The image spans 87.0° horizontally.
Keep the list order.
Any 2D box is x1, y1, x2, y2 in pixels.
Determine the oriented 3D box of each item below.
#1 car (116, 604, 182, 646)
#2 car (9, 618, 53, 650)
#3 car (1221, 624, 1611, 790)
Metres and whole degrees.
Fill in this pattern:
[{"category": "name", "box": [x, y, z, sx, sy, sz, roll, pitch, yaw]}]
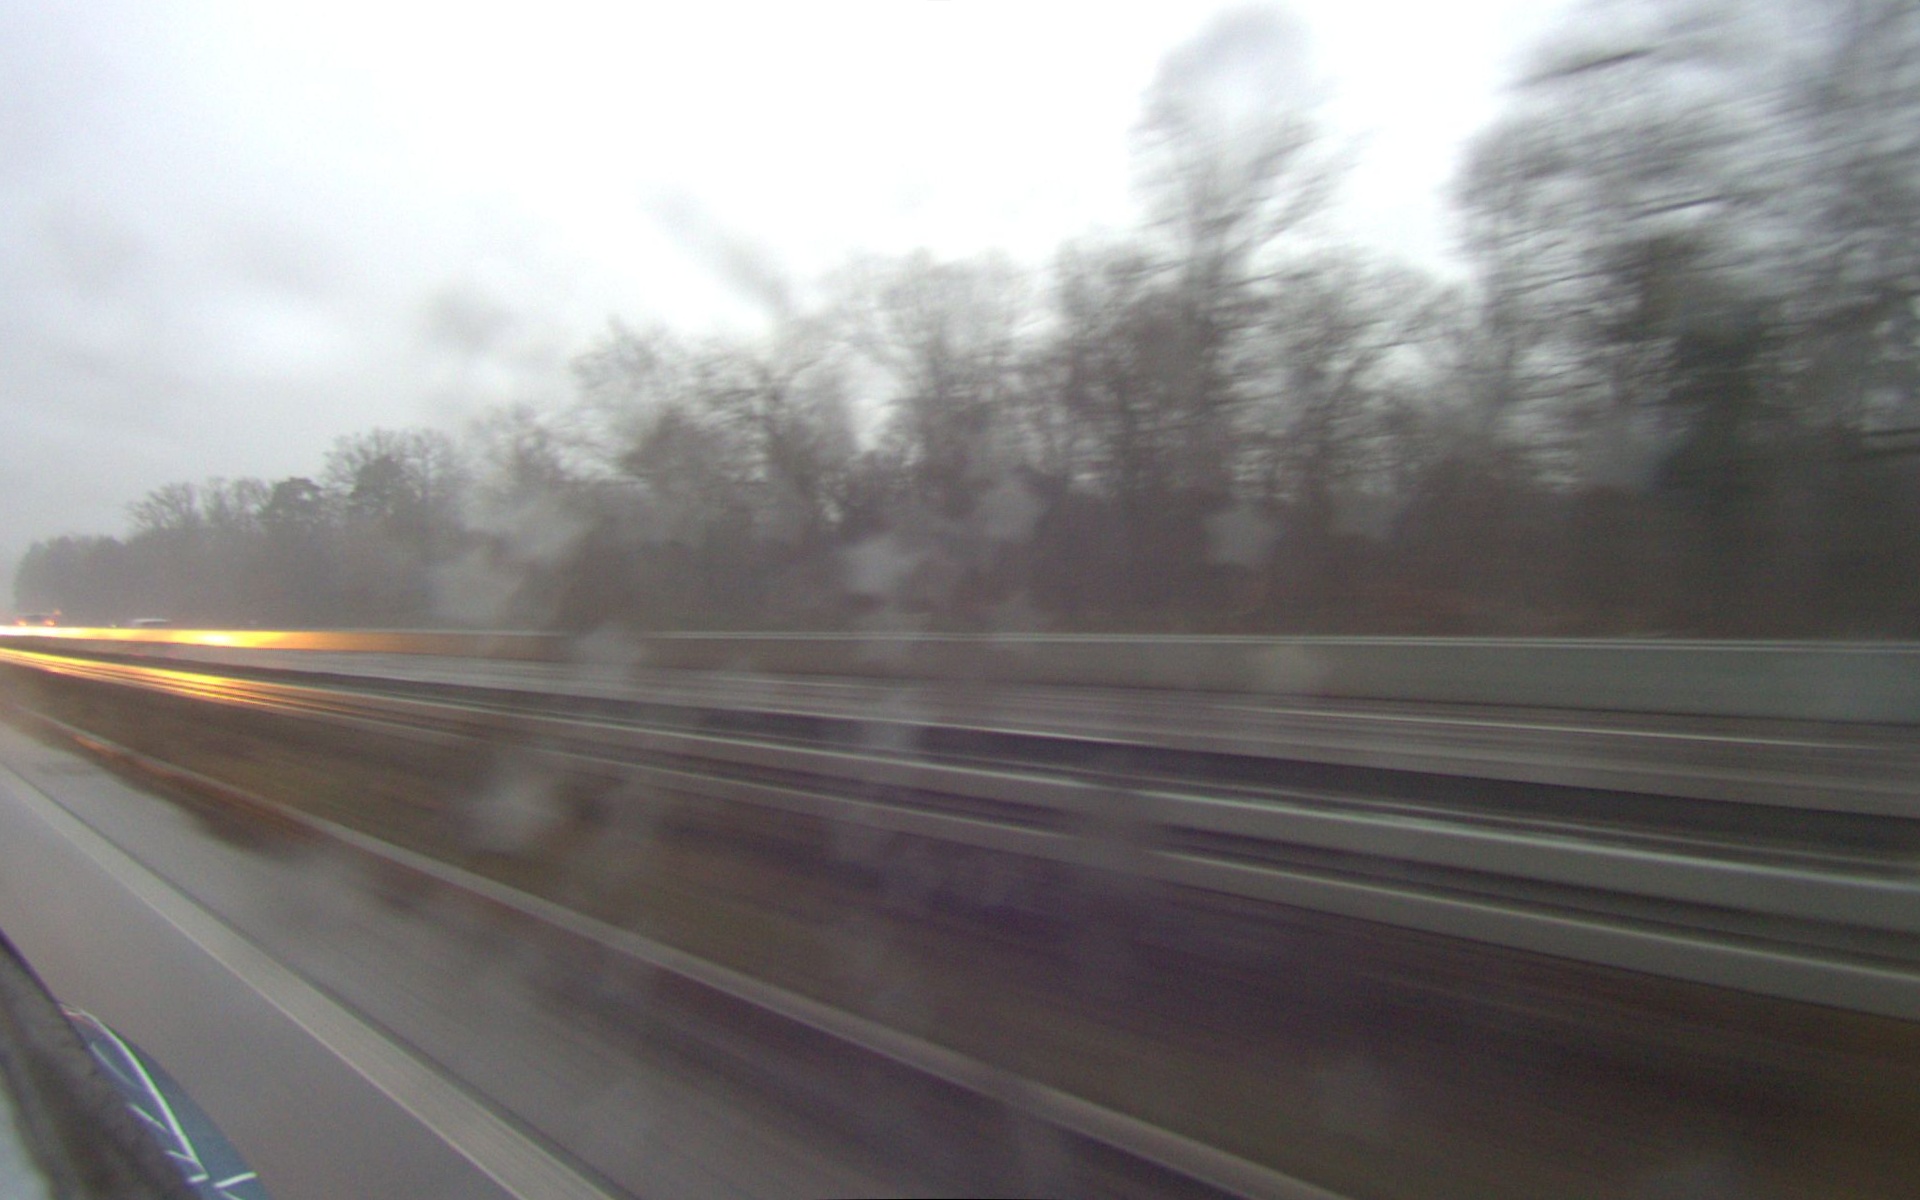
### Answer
[{"category": "car", "box": [-37.721, 1.136, 47.042, 3.910, 1.849, 1.739, -1, 0, 41]}, {"category": "car", "box": [-70.793, 2.551, 77.093, 5.461, 2.334, 2.009, -1, 0, 43]}, {"category": "car", "box": [3.907, 0.820, 8.864, 2.880, 1.177, 1.260, -1, 0, 41]}]
